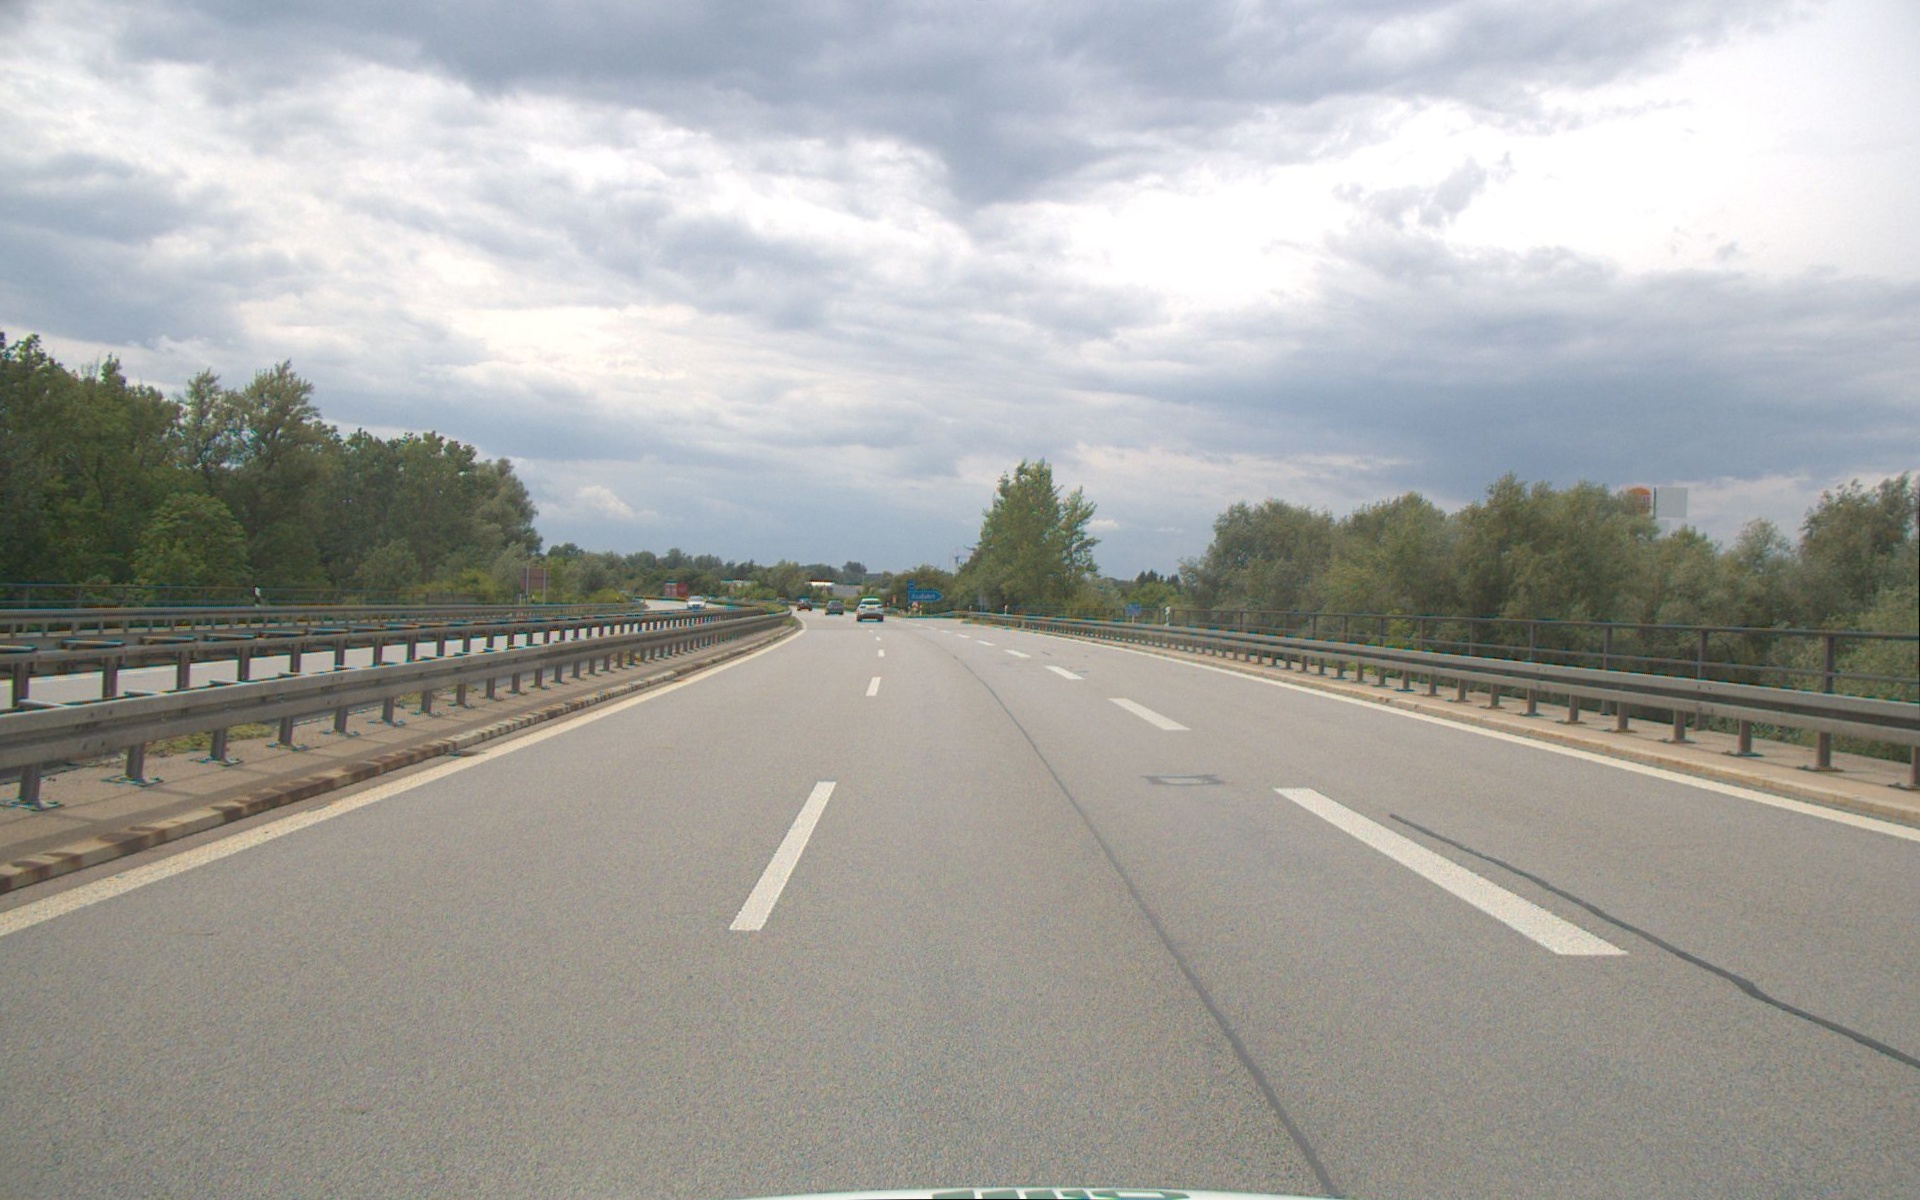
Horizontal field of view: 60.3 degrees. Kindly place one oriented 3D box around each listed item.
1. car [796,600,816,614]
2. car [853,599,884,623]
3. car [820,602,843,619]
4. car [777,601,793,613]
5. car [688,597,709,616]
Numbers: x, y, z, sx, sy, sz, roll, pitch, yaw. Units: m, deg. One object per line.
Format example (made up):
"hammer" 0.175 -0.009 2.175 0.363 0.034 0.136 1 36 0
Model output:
"car" -19.963 0.902 214.181 1.869 1.668 4.764 1 0 -13
"car" -6.699 0.764 121.051 1.866 1.668 4.388 1 0 -8
"car" -13.360 1.108 171.757 1.858 1.668 4.610 1 0 -11
"car" -26.193 1.034 247.386 1.796 1.825 4.396 1 0 -15
"car" -25.137 0.625 159.252 1.610 1.745 4.976 1 0 -5
